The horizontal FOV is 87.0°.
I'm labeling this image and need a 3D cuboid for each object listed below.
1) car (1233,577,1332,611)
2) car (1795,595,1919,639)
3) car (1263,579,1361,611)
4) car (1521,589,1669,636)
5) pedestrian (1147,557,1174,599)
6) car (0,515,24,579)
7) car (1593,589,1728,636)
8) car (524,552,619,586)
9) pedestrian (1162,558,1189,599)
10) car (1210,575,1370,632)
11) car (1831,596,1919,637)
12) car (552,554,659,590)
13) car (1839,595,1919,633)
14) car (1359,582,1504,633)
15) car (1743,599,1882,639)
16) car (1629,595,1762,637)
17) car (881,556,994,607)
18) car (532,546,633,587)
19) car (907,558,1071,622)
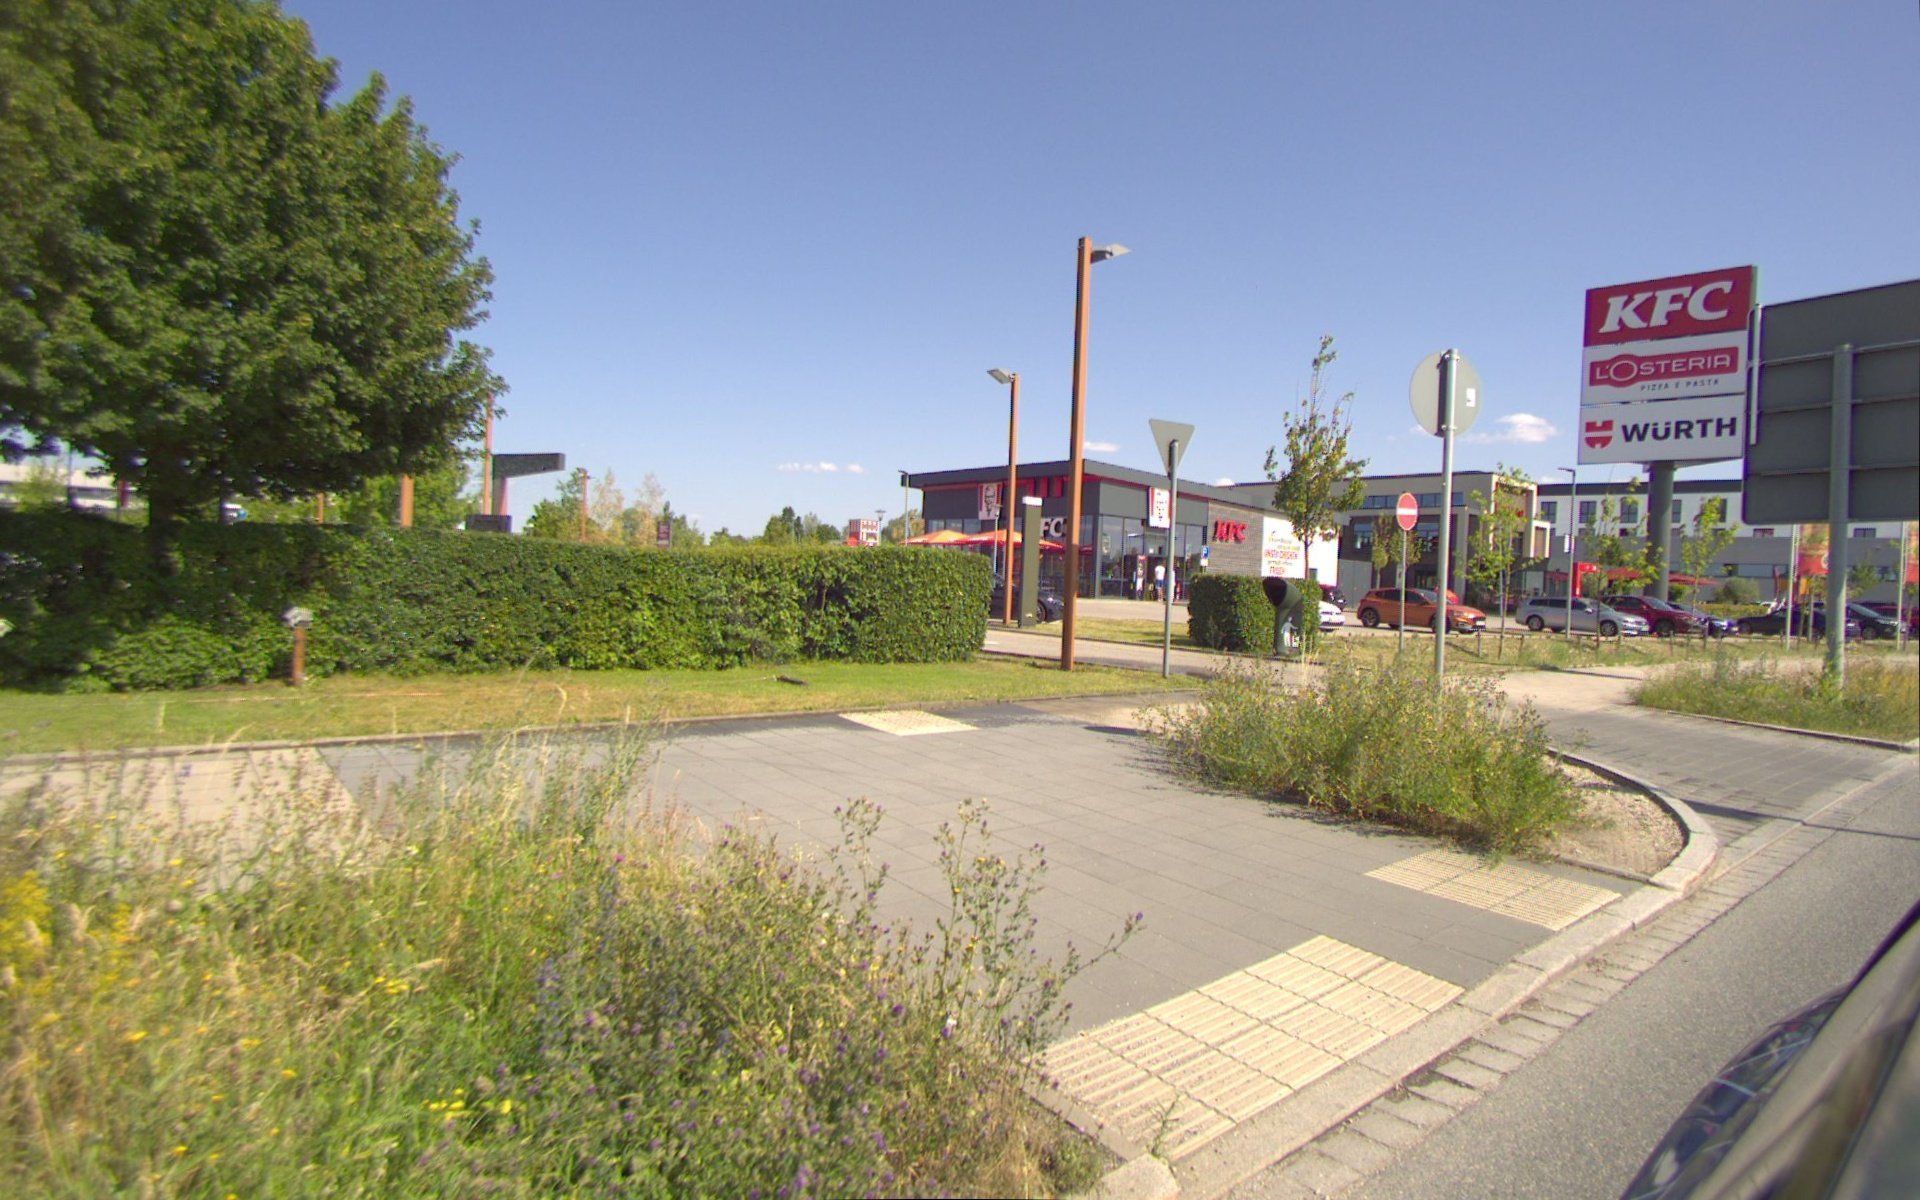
[{"bbox_3d":[16.499,-0.319,51.938,1.835,1.449,4.566,1,2,-40],"label":"car"},{"bbox_3d":[42.257,0.764,47.455,1.753,1.756,4.431,2,2,-21],"label":"car"},{"bbox_3d":[18.513,-0.273,53.460,1.835,1.449,4.566,1,2,-40],"label":"car"},{"bbox_3d":[24.811,0.446,39.734,1.831,1.508,4.578,2,2,-29],"label":"car"},{"bbox_3d":[9.858,-1.087,49.848,0.874,2.039,0.916,1,1,-36],"label":"pedestrian"},{"bbox_3d":[-27.990,-1.500,27.271,3.926,1.723,1.798,2,1,2],"label":"car"},{"bbox_3d":[28.890,0.479,41.877,1.830,1.686,4.176,2,2,-25],"label":"car"},{"bbox_3d":[-19.400,-1.530,50.634,4.094,1.541,1.790,2,1,4],"label":"car"},{"bbox_3d":[10.770,-1.073,50.695,0.874,2.039,0.916,1,1,-36],"label":"pedestrian"},{"bbox_3d":[10.106,0.070,31.359,1.832,1.508,4.545,2,2,-32],"label":"car"},{"bbox_3d":[44.962,0.824,48.571,1.753,1.756,4.431,2,2,-21],"label":"car"},{"bbox_3d":[-15.787,-1.256,45.192,4.094,1.469,1.790,2,1,4],"label":"car"},{"bbox_3d":[47.617,0.744,50.677,1.899,1.756,5.010,2,2,-24],"label":"car"},{"bbox_3d":[16.251,0.239,35.083,1.832,1.508,4.222,2,2,-32],"label":"car"},{"bbox_3d":[38.121,0.822,45.397,1.753,1.467,4.431,2,2,-23],"label":"car"},{"bbox_3d":[31.208,0.657,43.051,1.755,1.467,4.173,2,2,-31],"label":"car"},{"bbox_3d":[-0.849,-0.675,35.634,1.760,1.655,4.165,1,2,-40],"label":"car"},{"bbox_3d":[-17.898,-1.578,48.108,4.094,1.779,1.790,2,1,4],"label":"car"},{"bbox_3d":[0.766,-0.279,26.377,4.094,1.480,1.701,2,1,4],"label":"car"}]
